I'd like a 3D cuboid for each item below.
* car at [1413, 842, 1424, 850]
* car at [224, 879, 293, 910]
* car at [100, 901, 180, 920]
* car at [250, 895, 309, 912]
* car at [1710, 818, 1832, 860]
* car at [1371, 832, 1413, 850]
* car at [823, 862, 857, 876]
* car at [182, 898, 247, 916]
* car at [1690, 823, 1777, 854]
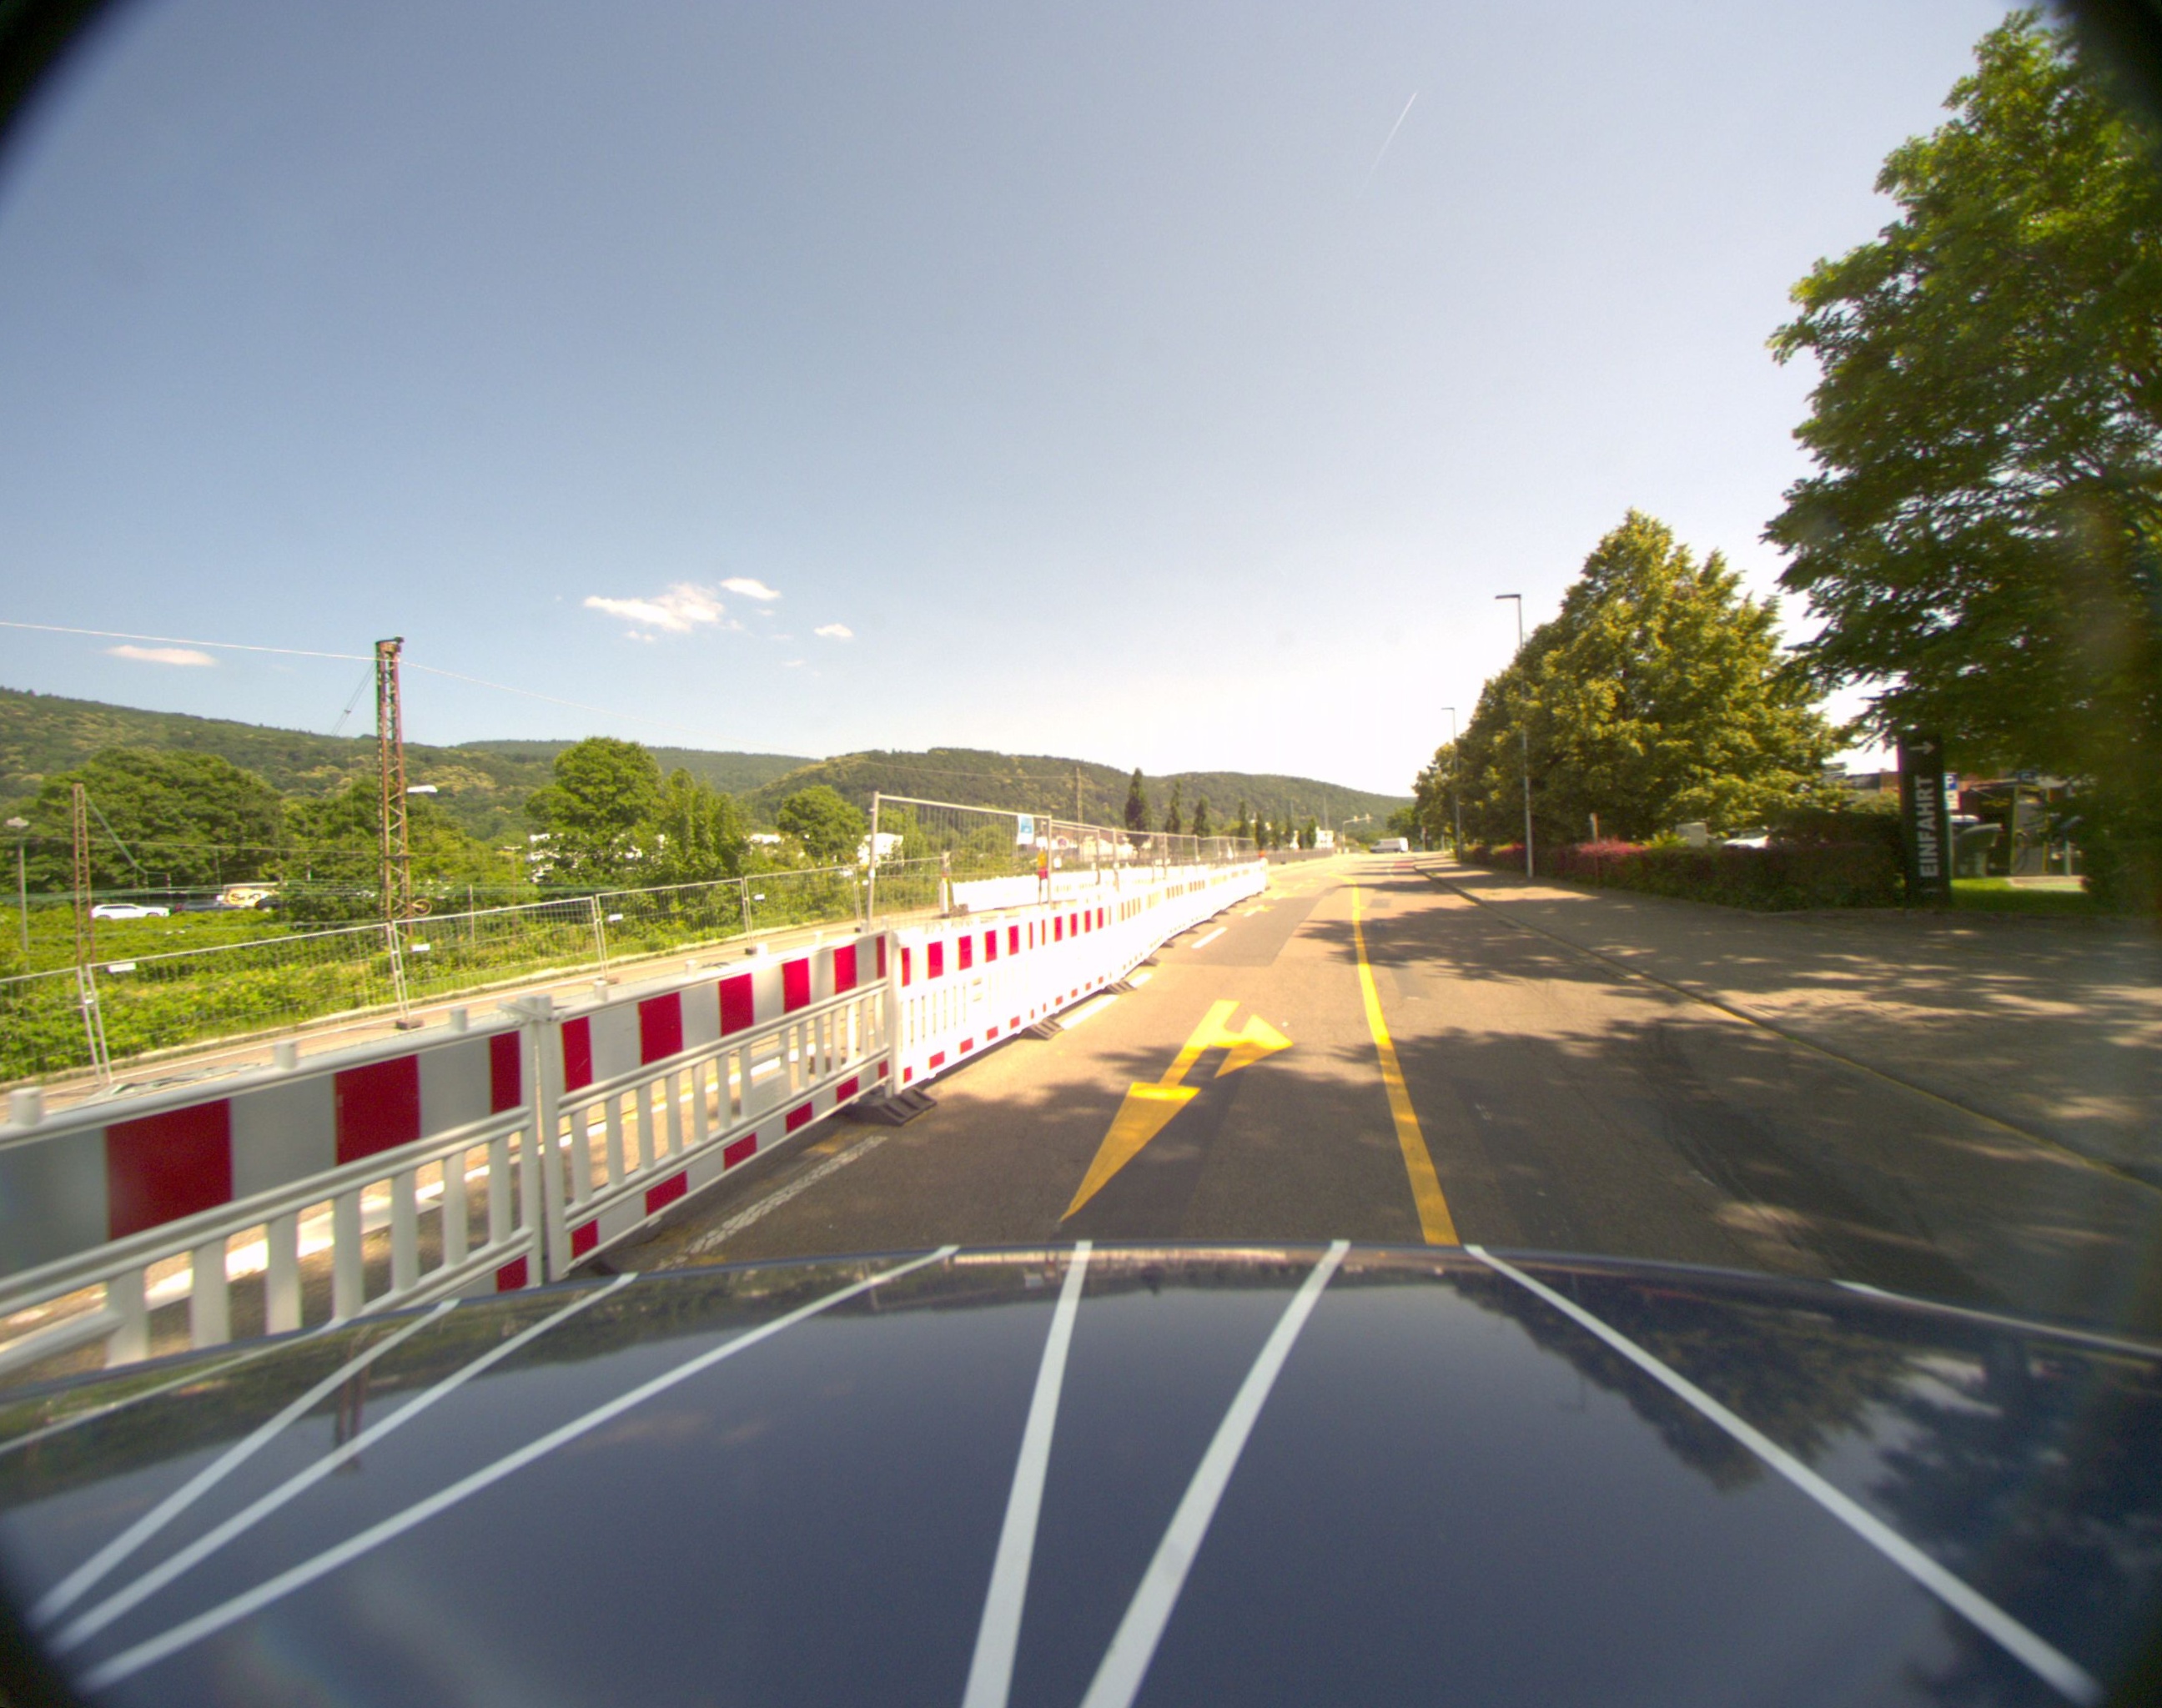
[{"bbox_3d":[62.826,-1.509,141.427,1.607,1.527,3.688,-2,0,22],"label":"car"},{"bbox_3d":[-83.717,4.073,77.413,1.861,2.835,4.649,-2,0,43],"label":"car"},{"bbox_3d":[-87.450,5.225,70.731,4.323,1.359,1.861,-3,0,-38],"label":"car"},{"bbox_3d":[-80.284,4.942,76.184,3.850,1.359,1.778,-3,0,-42],"label":"car"},{"bbox_3d":[34.385,-0.708,37.963,4.349,1.816,1.749,-3,-1,3],"label":"car"},{"bbox_3d":[50.281,-2.082,122.964,2.316,2.331,5.613,-6,1,-40],"label":"car"},{"bbox_3d":[-43.286,2.669,136.460,2.131,2.089,5.528,-8,-2,33],"label":"car"},{"bbox_3d":[-83.718,5.132,73.492,3.850,1.359,1.778,-3,0,-39],"label":"car"},{"bbox_3d":[40.898,-0.931,47.756,1.759,1.788,4.228,-3,0,-1],"label":"car"}]
